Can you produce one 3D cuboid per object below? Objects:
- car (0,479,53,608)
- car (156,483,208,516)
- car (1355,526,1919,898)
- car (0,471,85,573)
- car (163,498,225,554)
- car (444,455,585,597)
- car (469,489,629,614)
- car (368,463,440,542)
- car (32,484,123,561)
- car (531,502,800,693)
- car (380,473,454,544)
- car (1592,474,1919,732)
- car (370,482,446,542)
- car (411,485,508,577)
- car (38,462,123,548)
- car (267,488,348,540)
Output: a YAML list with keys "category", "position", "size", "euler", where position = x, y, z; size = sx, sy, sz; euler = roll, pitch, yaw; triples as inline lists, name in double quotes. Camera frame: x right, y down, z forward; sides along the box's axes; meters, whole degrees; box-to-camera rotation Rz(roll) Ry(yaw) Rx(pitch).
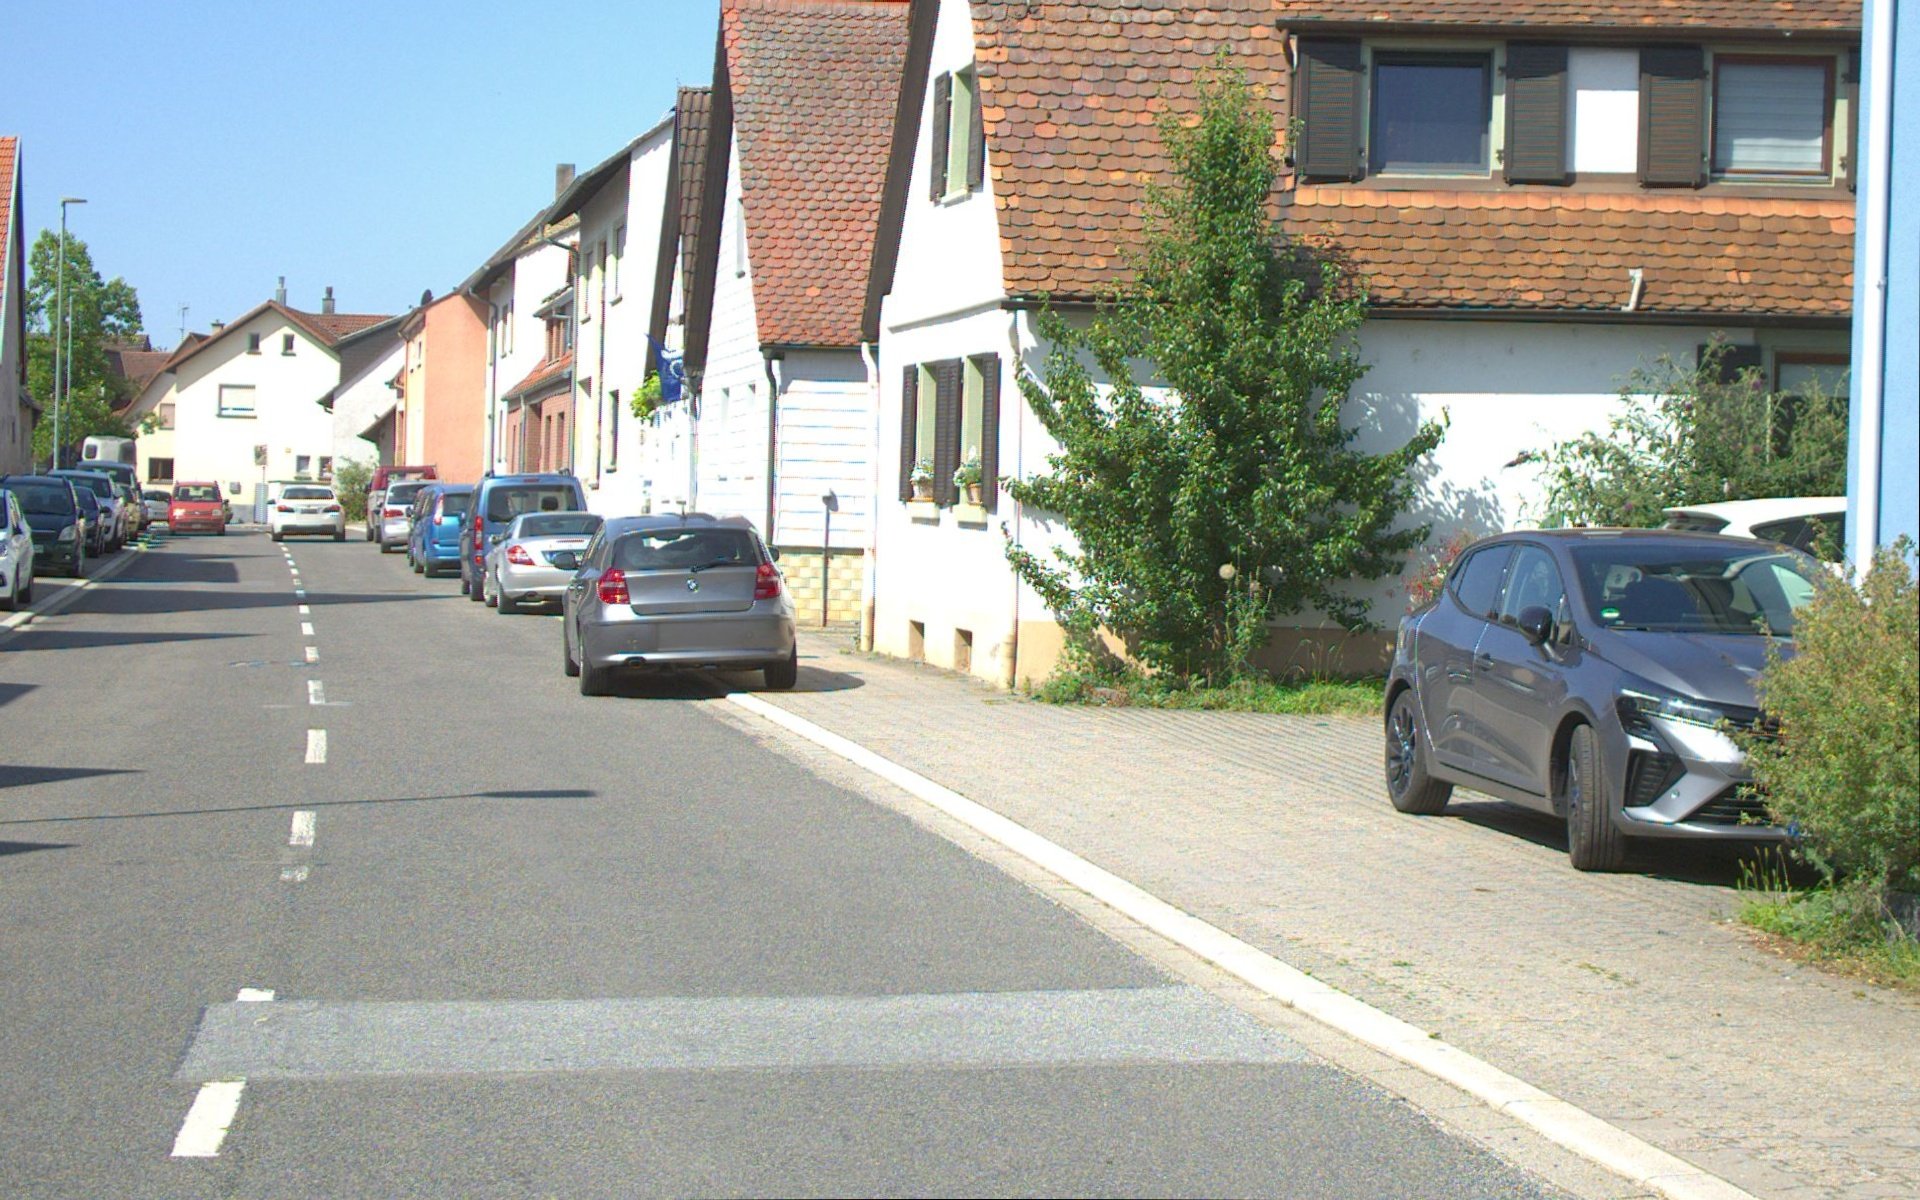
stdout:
- category: "car"
  position: [-12.587, -0.772, 43.416]
  size: [1.805, 1.542, 4.405]
  euler: [2, 1, -10]
- category: "car"
  position: [-31.889, -4.129, 140.962]
  size: [1.993, 1.284, 3.805]
  euler: [1, 1, -11]
- category: "car"
  position: [3.144, 0.406, 15.501]
  size: [1.689, 1.415, 4.147]
  euler: [2, 1, -8]
- category: "car"
  position: [-15.279, -1.301, 56.305]
  size: [1.618, 1.572, 3.963]
  euler: [2, 1, -12]
- category: "car"
  position: [-21.743, -2.108, 97.664]
  size: [1.600, 1.484, 3.627]
  euler: [2, 1, -12]
- category: "car"
  position: [-6.459, -1.080, 49.618]
  size: [1.649, 1.903, 3.627]
  euler: [2, 1, -12]
- category: "car"
  position: [-5.395, -0.652, 44.807]
  size: [1.704, 1.491, 3.453]
  euler: [2, 1, -12]
- category: "car"
  position: [-14.692, -2.570, 90.736]
  size: [1.766, 1.997, 3.451]
  euler: [1, 1, -11]
- category: "car"
  position: [-17.385, -1.527, 67.843]
  size: [1.504, 1.448, 3.510]
  euler: [1, 1, -11]
- category: "car"
  position: [-2.484, -0.068, 28.237]
  size: [1.704, 1.428, 3.891]
  euler: [1, 1, -12]
- category: "car"
  position: [-12.288, -2.077, 77.676]
  size: [1.420, 1.510, 3.305]
  euler: [2, 1, -12]
- category: "car"
  position: [6.633, 0.028, 23.502]
  size: [4.174, 1.652, 1.812]
  euler: [1, 1, -5]
- category: "car"
  position: [-13.785, -2.194, 85.805]
  size: [1.766, 1.428, 3.451]
  euler: [1, 1, -11]
- category: "car"
  position: [-8.828, -1.220, 60.464]
  size: [1.420, 1.510, 3.305]
  euler: [2, 1, -12]
- category: "car"
  position: [-18.505, -2.009, 72.446]
  size: [1.527, 1.707, 3.627]
  euler: [2, 1, -12]
- category: "car"
  position: [-17.065, -2.252, 89.774]
  size: [1.993, 1.284, 4.001]
  euler: [1, 1, -11]
